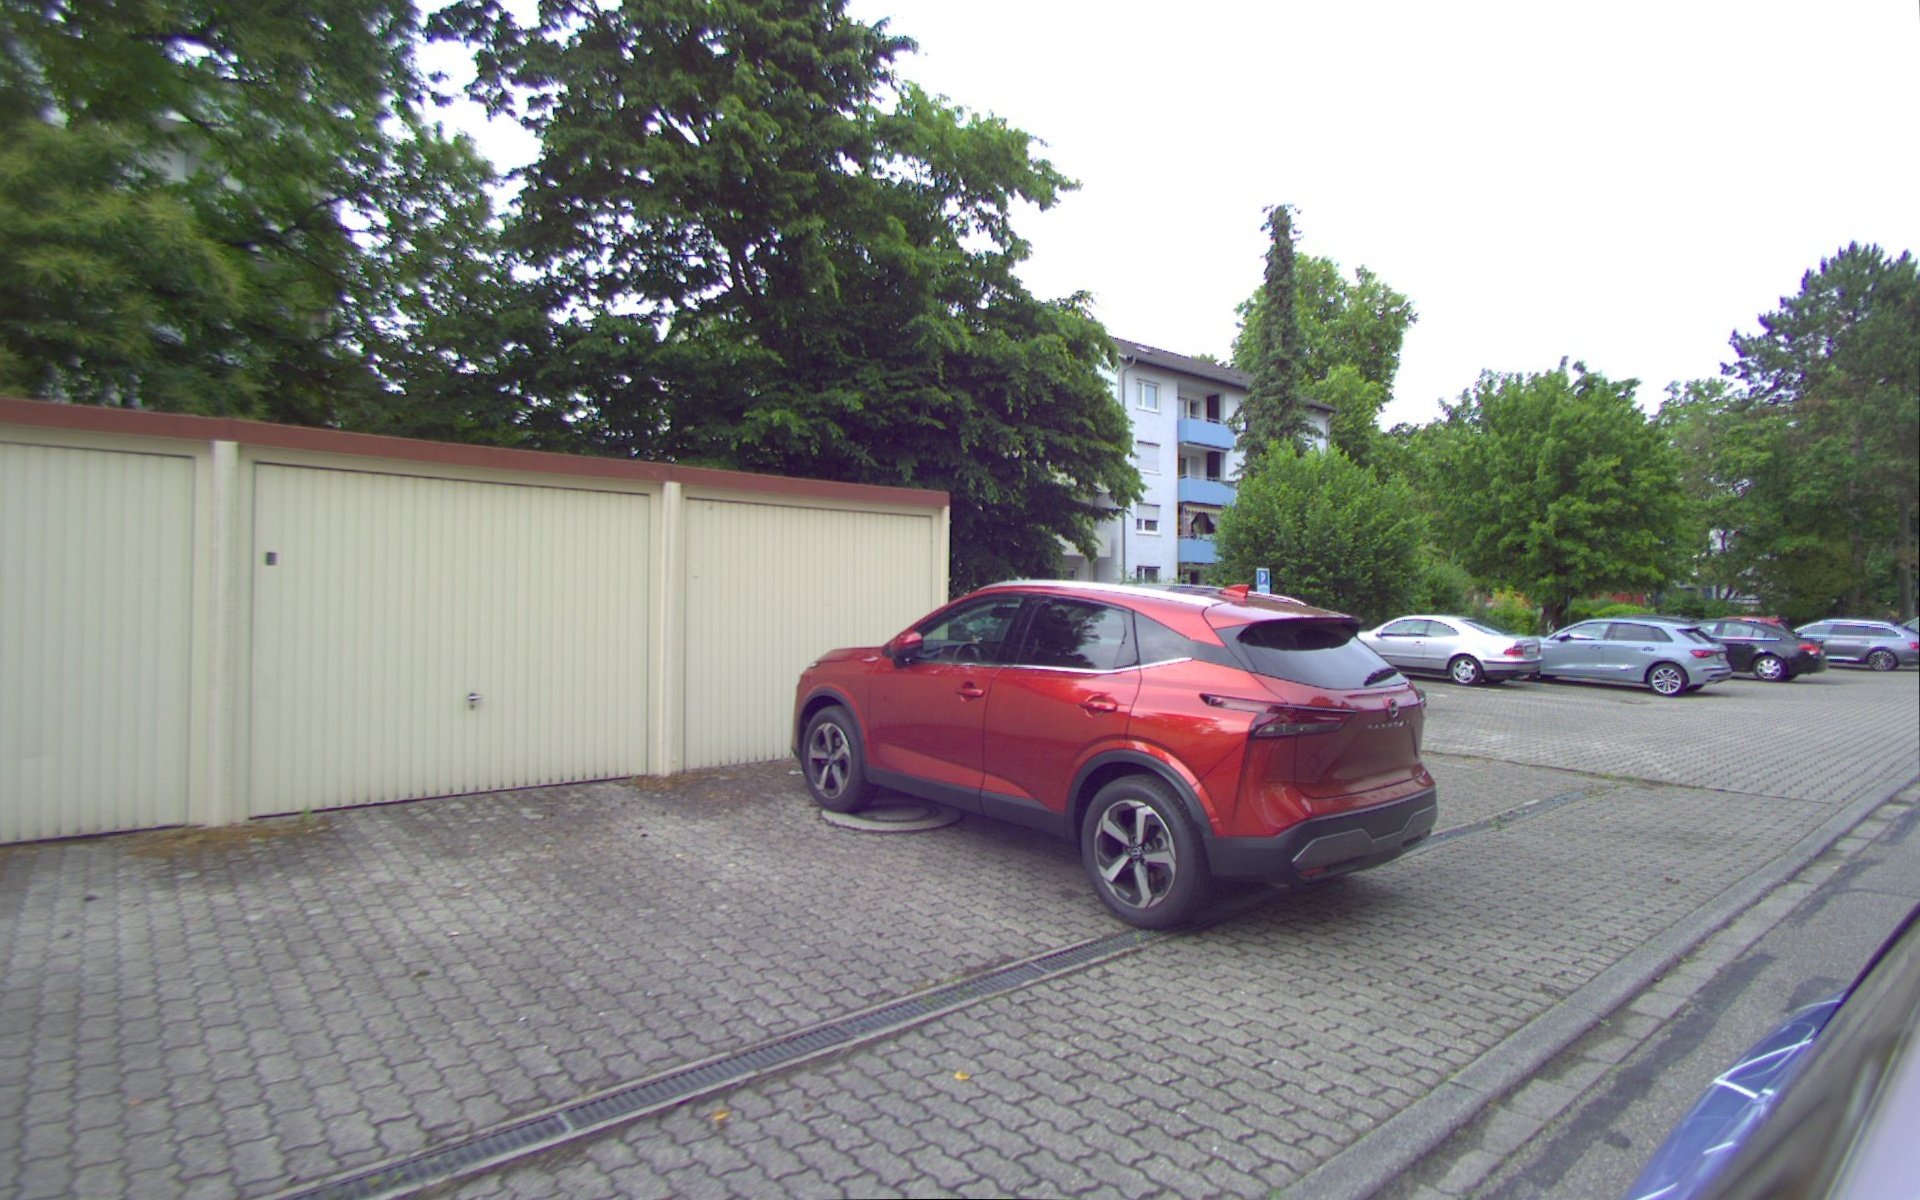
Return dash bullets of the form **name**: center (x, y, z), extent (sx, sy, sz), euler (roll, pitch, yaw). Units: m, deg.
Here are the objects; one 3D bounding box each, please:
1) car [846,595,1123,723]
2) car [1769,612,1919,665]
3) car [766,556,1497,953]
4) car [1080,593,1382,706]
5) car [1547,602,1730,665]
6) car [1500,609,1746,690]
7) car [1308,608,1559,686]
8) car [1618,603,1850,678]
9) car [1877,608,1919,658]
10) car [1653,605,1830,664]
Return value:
- **car**: center (0.197, 0.680, 13.684), extent (1.682, 1.466, 3.835), euler (1, 0, -38)
- **car**: center (27.944, 1.170, 31.508), extent (1.756, 1.504, 4.100), euler (1, 0, -41)
- **car**: center (0.720, 0.572, 6.377), extent (1.901, 1.606, 4.296), euler (1, 1, -41)
- **car**: center (4.312, 0.710, 16.740), extent (1.834, 1.549, 4.582), euler (1, 0, -41)
- **car**: center (19.842, 0.919, 29.745), extent (1.756, 1.503, 4.103), euler (1, 2, -40)
- **car**: center (13.575, 0.939, 20.875), extent (1.702, 1.453, 3.971), euler (1, 0, -42)
- **car**: center (9.866, 0.908, 21.349), extent (1.992, 1.402, 4.397), euler (1, 0, -42)
- **car**: center (19.436, 0.957, 25.574), extent (1.756, 1.503, 4.334), euler (1, 2, -40)
- **car**: center (32.986, 1.112, 33.218), extent (1.756, 1.667, 4.100), euler (1, 0, -41)
- **car**: center (24.562, 1.032, 31.909), extent (1.756, 1.503, 4.103), euler (1, 2, -40)
